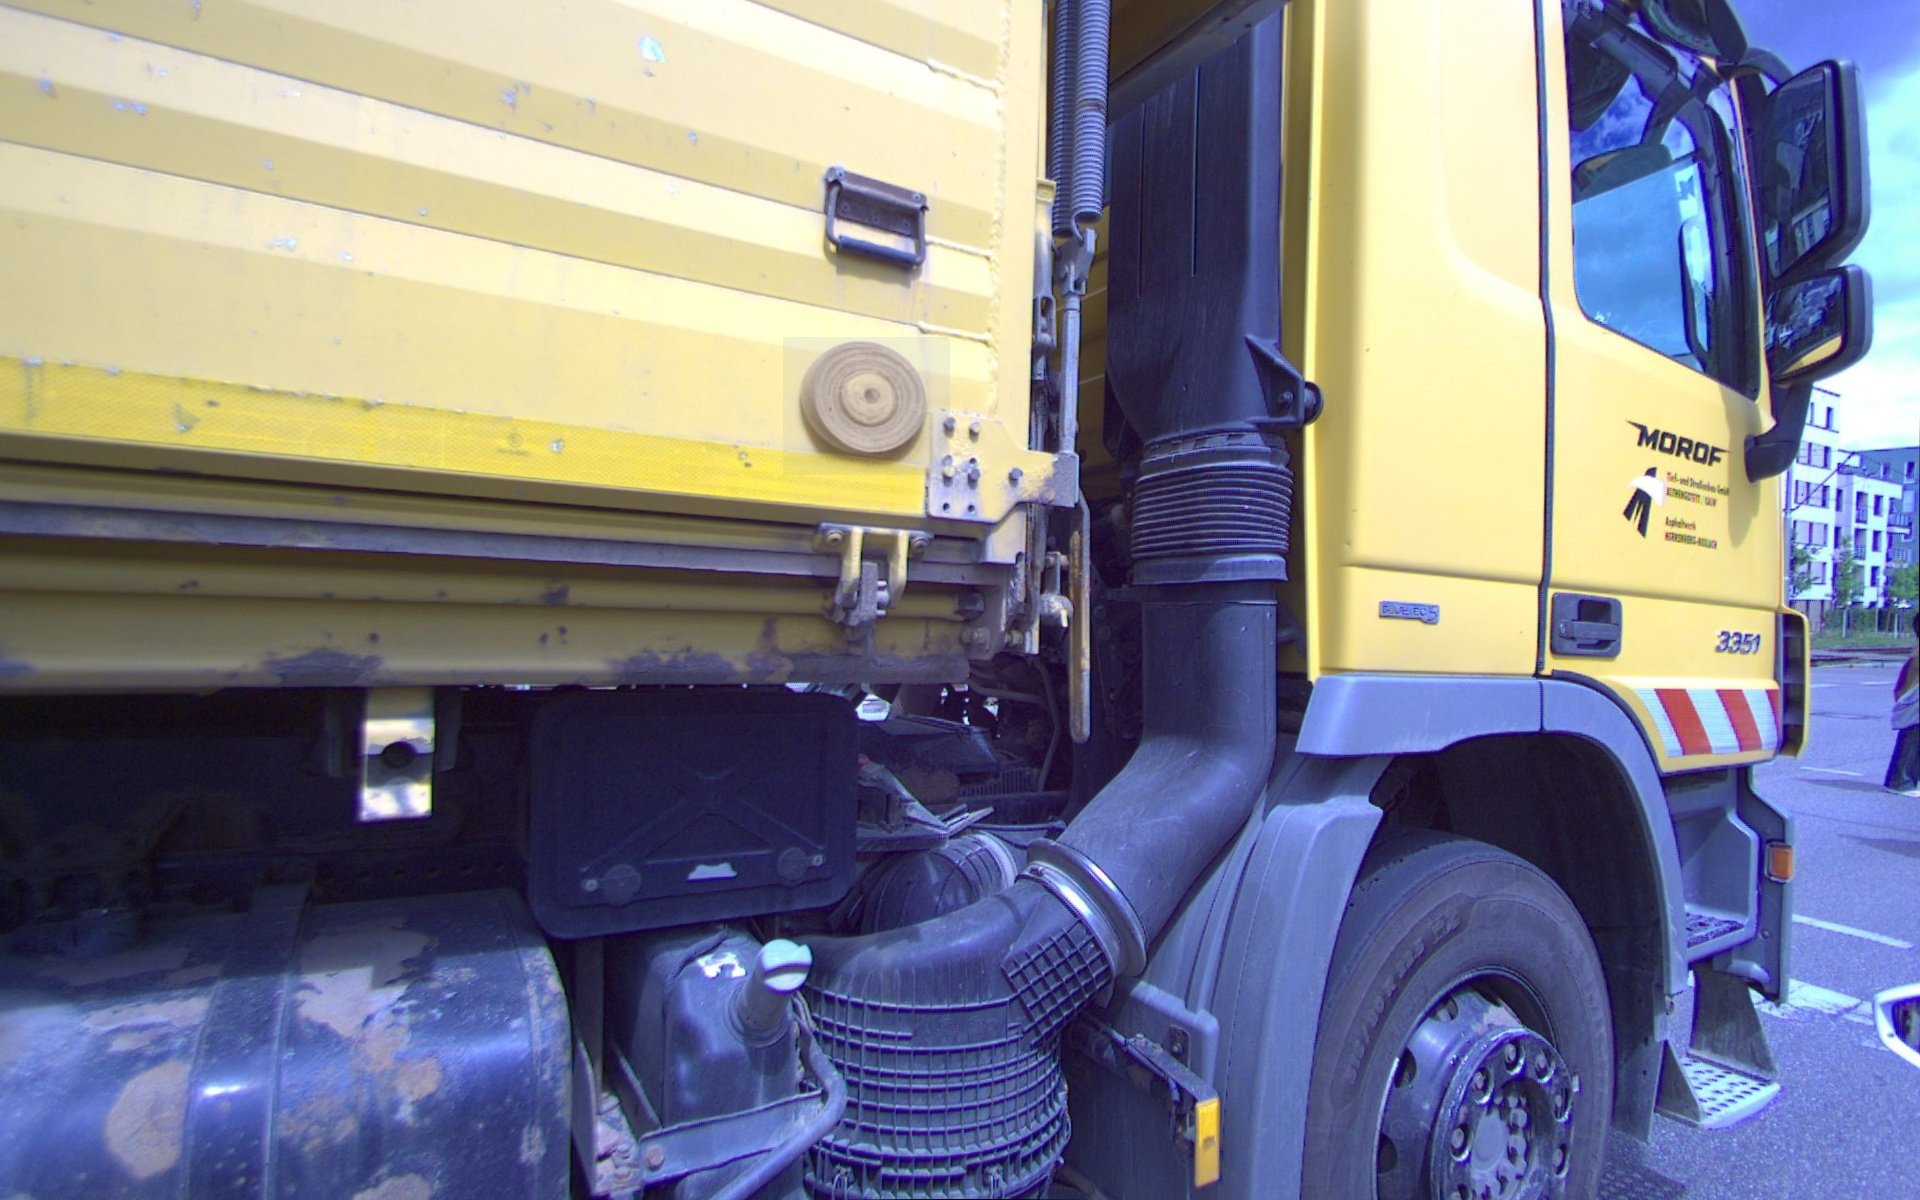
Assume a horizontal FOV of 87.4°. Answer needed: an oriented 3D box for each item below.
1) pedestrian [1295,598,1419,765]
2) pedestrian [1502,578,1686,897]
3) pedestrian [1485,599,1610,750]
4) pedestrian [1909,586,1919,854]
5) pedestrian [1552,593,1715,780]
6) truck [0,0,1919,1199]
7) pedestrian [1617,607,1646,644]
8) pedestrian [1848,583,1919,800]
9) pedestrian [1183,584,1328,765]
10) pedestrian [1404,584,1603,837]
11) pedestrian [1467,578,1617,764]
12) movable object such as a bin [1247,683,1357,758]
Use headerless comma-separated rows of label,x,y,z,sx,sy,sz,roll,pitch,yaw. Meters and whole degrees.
pedestrian,3.967,0.773,10.069,0.737,1.575,0.877,1,0,-29
pedestrian,3.711,0.733,5.872,0.812,1.693,0.730,1,0,39
pedestrian,6.687,0.810,11.457,0.897,1.618,0.889,1,0,-29
pedestrian,6.422,0.749,6.039,0.723,1.662,0.820,1,0,-25
pedestrian,6.258,0.757,9.362,0.917,1.628,0.910,1,0,-25
truck,-1.736,-0.233,1.673,7.916,3.439,3.033,1,0,-32
pedestrian,28.974,1.091,43.323,0.628,1.536,0.827,1,0,-30
pedestrian,8.134,0.753,8.466,0.820,1.766,0.777,1,0,-34
pedestrian,2.903,0.692,9.926,0.918,1.670,1.016,1,0,-29
pedestrian,3.915,0.731,7.262,0.871,1.670,0.953,1,0,-33
pedestrian,5.976,0.687,10.347,0.918,1.796,0.998,1,0,-29
movable object such as a bin,3.587,1.245,10.567,0.768,0.671,0.792,1,0,-29
